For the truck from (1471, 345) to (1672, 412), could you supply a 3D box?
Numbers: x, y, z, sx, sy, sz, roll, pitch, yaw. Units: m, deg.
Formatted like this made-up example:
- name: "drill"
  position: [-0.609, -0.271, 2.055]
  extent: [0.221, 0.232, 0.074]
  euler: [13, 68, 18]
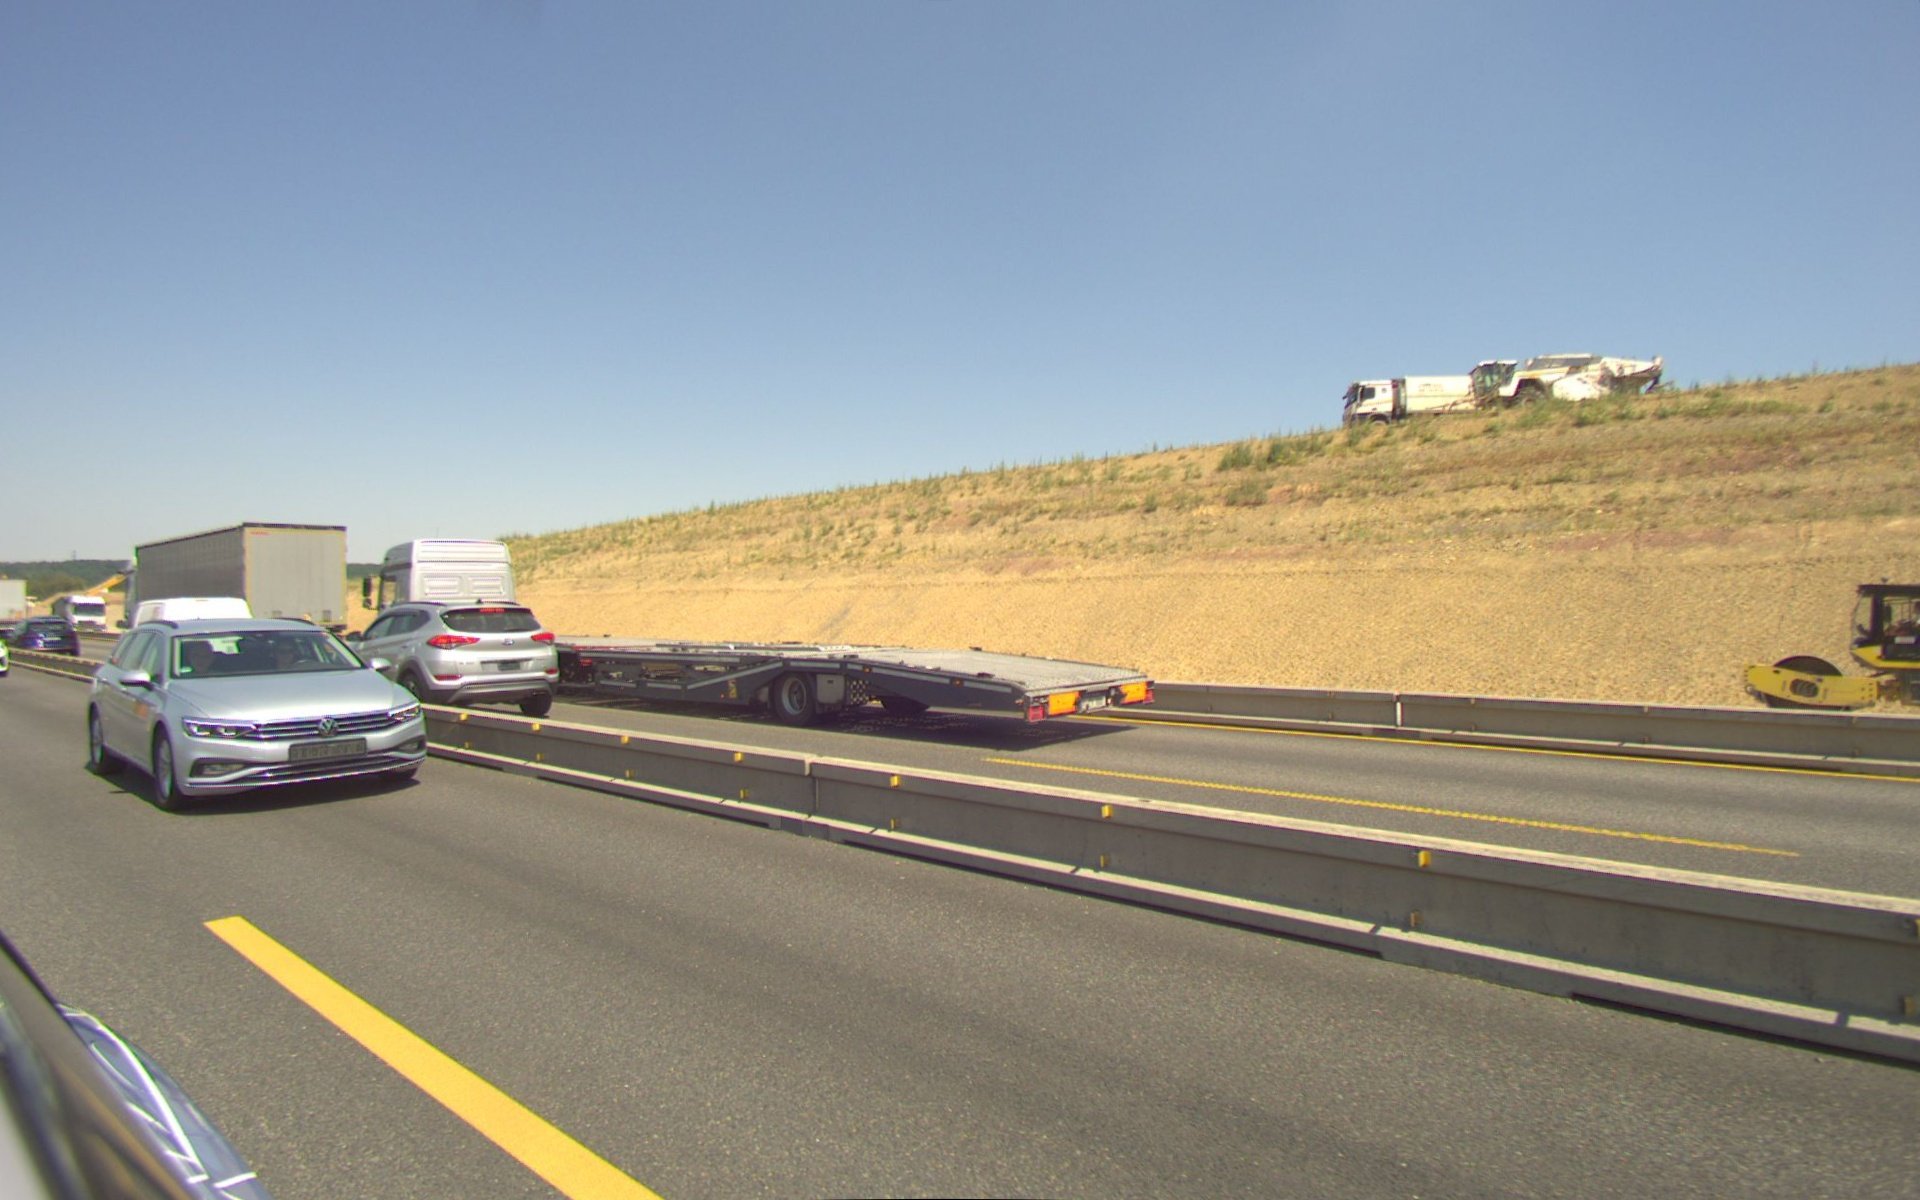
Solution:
- name: "truck"
  position: [31.977, -11.581, 53.187]
  extent: [8.800, 2.769, 2.298]
  euler: [0, 0, 7]

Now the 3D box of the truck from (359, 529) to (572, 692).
- name: "truck"
  position: [-10.707, 0.182, 21.728]
  extent: [5.061, 3.082, 2.373]
  euler: [0, 1, 42]

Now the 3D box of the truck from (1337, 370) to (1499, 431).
- name: "truck"
  position: [26.676, -11.610, 59.180]
  extent: [8.263, 2.920, 2.358]
  euler: [0, 0, 6]

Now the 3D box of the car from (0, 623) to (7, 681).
- name: "car"
  position: [-25.859, 1.309, 25.872]
  extent: [4.029, 1.408, 1.851]
  euler: [0, 1, 42]

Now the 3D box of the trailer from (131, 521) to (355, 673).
- name: "trailer"
  position: [-23.685, 0.010, 32.886]
  extent: [13.703, 4.106, 2.762]
  euler: [-1, 0, 41]

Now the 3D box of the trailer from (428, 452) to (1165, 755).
- name: "trailer"
  position: [-4.097, 0.090, 15.849]
  extent: [15.265, 2.954, 2.322]
  euler: [-1, 0, 42]

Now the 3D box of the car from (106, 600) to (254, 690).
- name: "car"
  position: [-19.067, 0.981, 24.645]
  extent: [5.260, 1.941, 1.807]
  euler: [0, 1, 40]

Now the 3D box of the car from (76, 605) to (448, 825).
- name: "car"
  position: [-6.423, 0.839, 9.138]
  extent: [4.098, 1.519, 1.781]
  euler: [-1, 0, 41]

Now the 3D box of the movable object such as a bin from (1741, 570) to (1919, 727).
- name: "movable object such as a bin"
  position: [20.476, 0.992, 20.523]
  extent: [7.162, 3.133, 2.145]
  euler: [-2, -3, 42]

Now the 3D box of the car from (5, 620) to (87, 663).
- name: "car"
  position: [-34.066, 1.485, 37.685]
  extent: [4.481, 1.397, 1.709]
  euler: [0, 1, 40]

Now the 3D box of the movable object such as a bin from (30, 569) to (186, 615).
- name: "movable object such as a bin"
  position: [-130.600, -1.286, 155.693]
  extent: [3.386, 6.823, 18.034]
  euler: [0, 1, 40]

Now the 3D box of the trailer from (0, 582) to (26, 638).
- name: "trailer"
  position: [-72.965, 0.792, 75.994]
  extent: [13.989, 3.968, 2.626]
  euler: [-1, 0, 41]

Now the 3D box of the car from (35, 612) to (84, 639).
- name: "car"
  position: [-54.350, 1.511, 61.041]
  extent: [4.498, 1.435, 1.614]
  euler: [0, 1, 40]

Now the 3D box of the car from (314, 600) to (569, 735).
- name: "car"
  position: [-7.571, 0.836, 14.591]
  extent: [4.387, 1.643, 1.707]
  euler: [0, 1, 40]

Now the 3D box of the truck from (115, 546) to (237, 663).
- name: "truck"
  position: [-29.465, 0.122, 37.988]
  extent: [4.942, 4.074, 2.739]
  euler: [0, 1, 42]
